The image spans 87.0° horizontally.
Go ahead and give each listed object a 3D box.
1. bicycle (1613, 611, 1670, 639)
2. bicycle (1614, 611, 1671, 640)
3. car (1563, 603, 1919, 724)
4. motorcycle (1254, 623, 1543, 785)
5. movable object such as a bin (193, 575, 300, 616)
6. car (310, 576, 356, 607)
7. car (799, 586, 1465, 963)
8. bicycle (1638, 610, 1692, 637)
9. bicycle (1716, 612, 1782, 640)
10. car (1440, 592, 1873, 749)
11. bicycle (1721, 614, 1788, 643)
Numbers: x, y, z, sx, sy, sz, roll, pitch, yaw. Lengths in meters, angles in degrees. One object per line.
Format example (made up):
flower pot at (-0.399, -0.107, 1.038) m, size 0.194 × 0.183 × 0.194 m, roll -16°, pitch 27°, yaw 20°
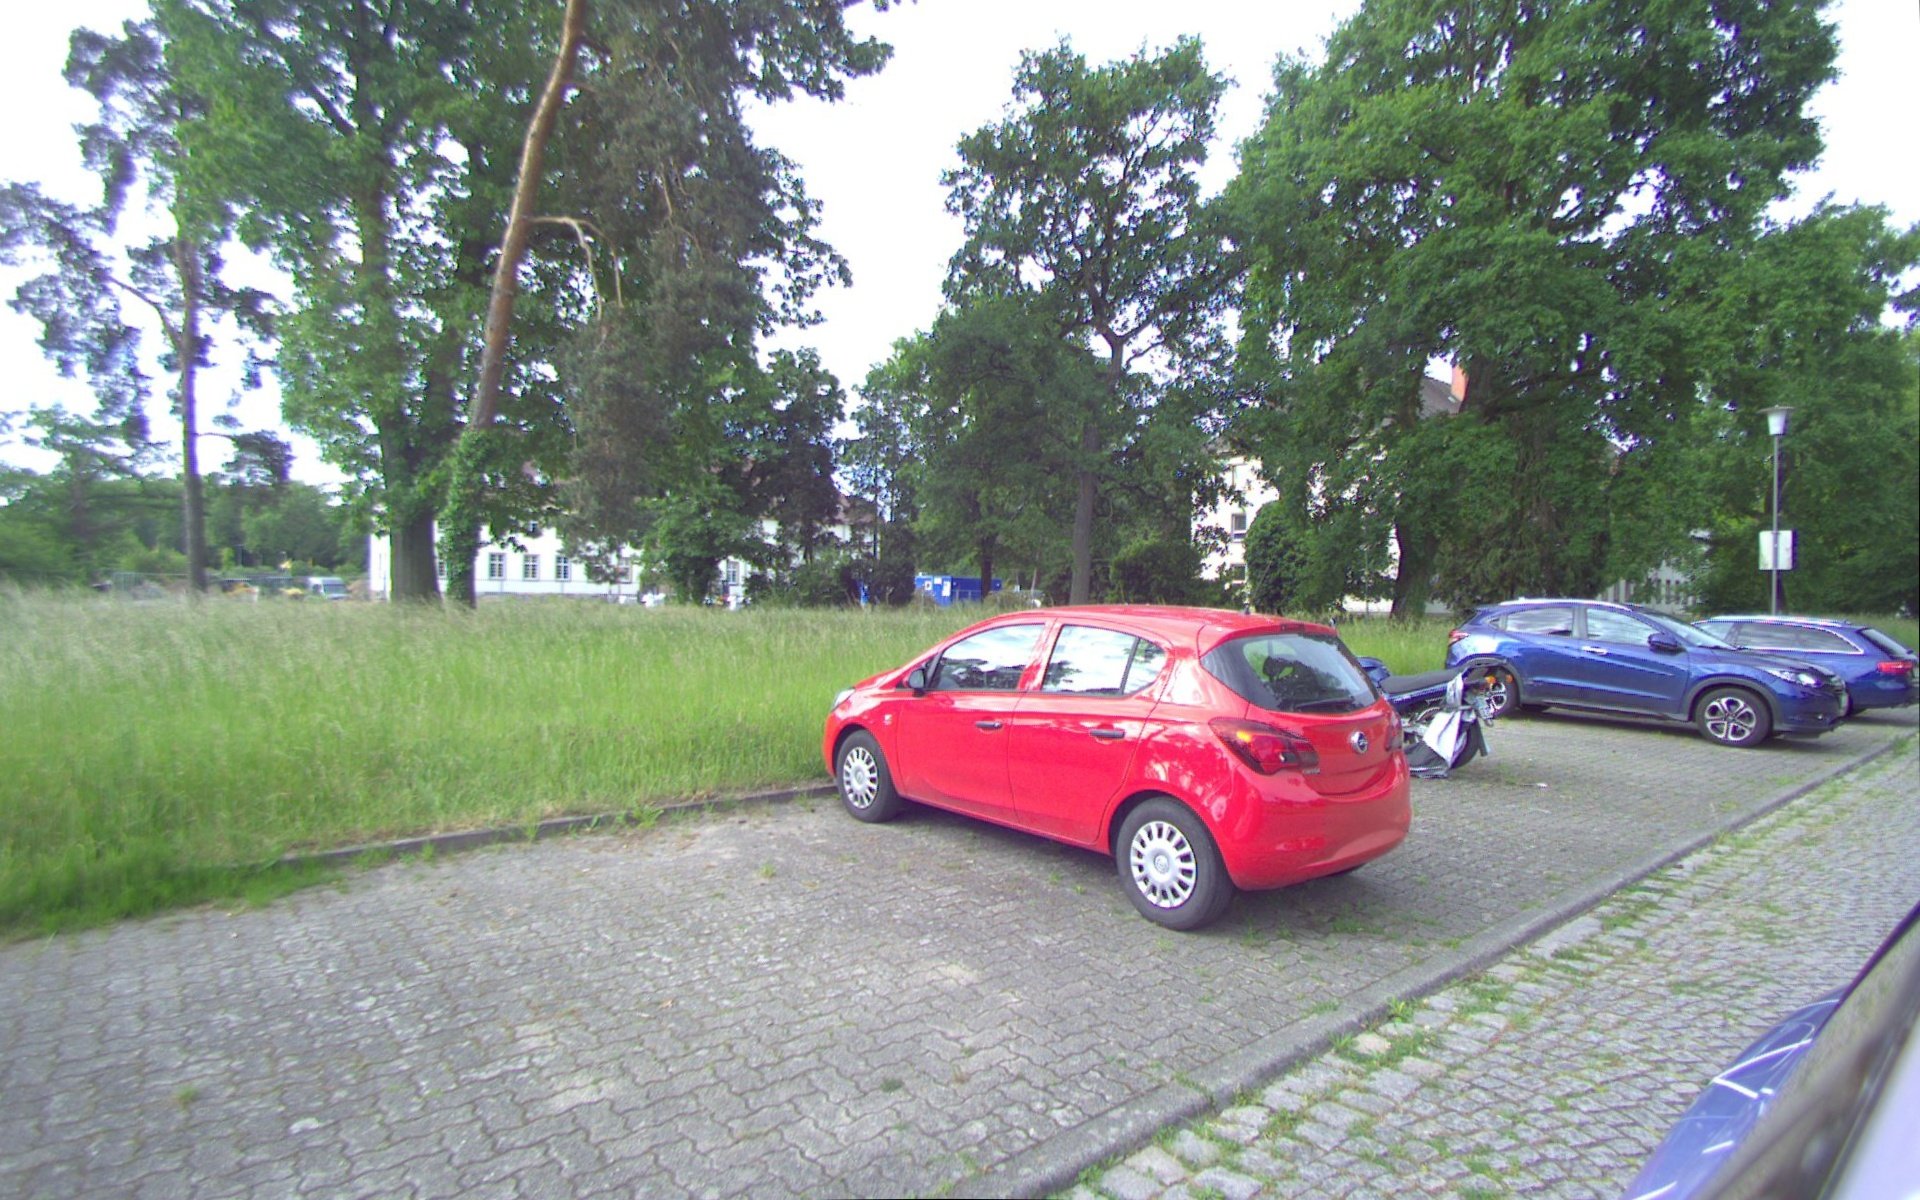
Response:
bicycle at (28.006, 1.009, 41.613) m, size 1.840 × 1.137 × 0.616 m, roll 0°, pitch -1°, yaw 27°
bicycle at (27.681, 1.008, 41.066) m, size 1.840 × 1.137 × 0.616 m, roll 0°, pitch -1°, yaw 27°
car at (12.088, 0.847, 15.583) m, size 1.751 × 1.439 × 4.483 m, roll 1°, pitch 1°, yaw -37°
motorcycle at (3.964, 0.869, 9.349) m, size 0.782 × 1.200 × 2.330 m, roll 1°, pitch 1°, yaw -42°
movable object such as a bin at (-47.880, -0.309, 68.014) m, size 5.871 × 2.689 × 2.172 m, roll 0°, pitch 0°, yaw 5°
car at (-49.496, -0.643, 79.862) m, size 4.579 × 2.378 × 1.888 m, roll 0°, pitch 0°, yaw 43°
car at (0.768, 0.710, 6.262) m, size 1.748 × 1.478 × 3.834 m, roll 0°, pitch 2°, yaw -40°
bicycle at (30.790, 1.003, 44.225) m, size 1.840 × 1.137 × 0.616 m, roll 0°, pitch -1°, yaw 27°
bicycle at (32.049, 1.038, 41.124) m, size 2.010 × 1.090 × 0.616 m, roll 0°, pitch -1°, yaw 27°
car at (8.502, 0.715, 12.680) m, size 1.761 × 1.591 × 4.171 m, roll -1°, pitch 1°, yaw -40°
bicycle at (30.853, 1.083, 39.327) m, size 1.951 × 1.090 × 0.583 m, roll 0°, pitch -1°, yaw 23°
